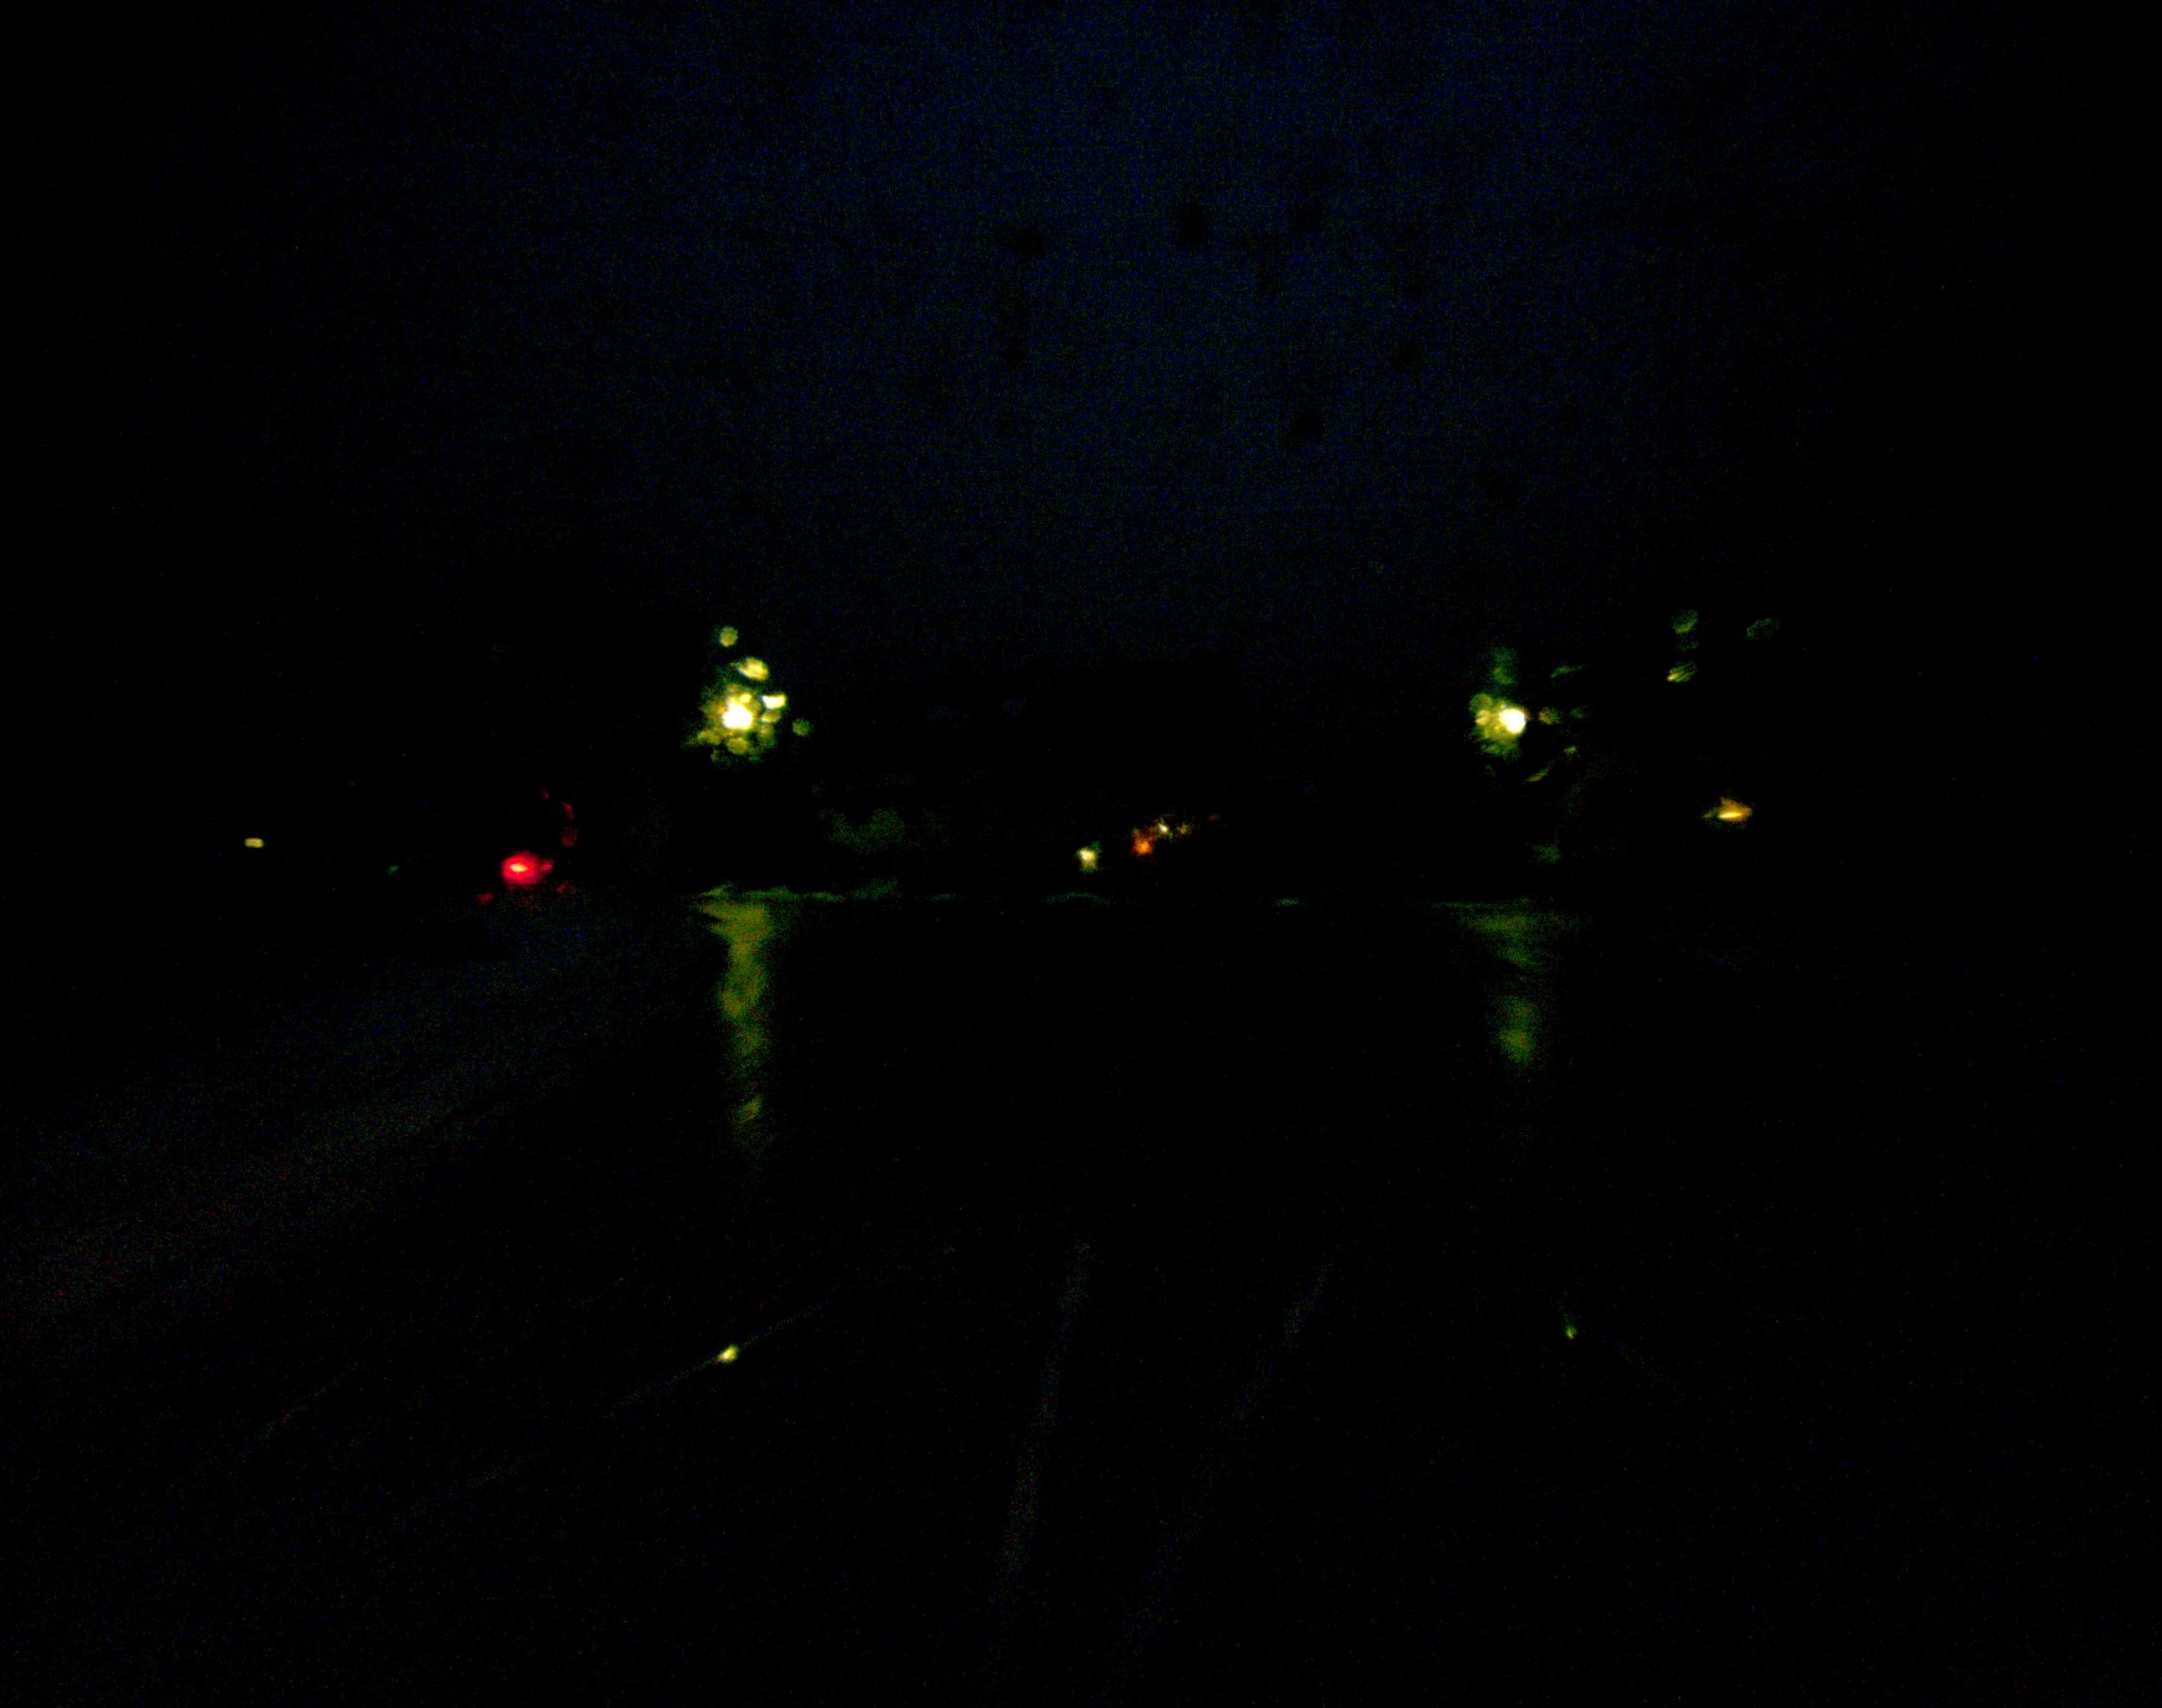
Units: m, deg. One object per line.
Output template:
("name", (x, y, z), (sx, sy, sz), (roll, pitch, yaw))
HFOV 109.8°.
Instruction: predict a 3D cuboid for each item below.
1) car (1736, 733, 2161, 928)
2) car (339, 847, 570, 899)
("car", (14.863, -0.217, 12.171), (2.003, 2.536, 6.108), (-2, -5, -26))
("car", (-18.036, 0.556, 22.080), (4.931, 1.373, 2.000), (1, -1, -2))
